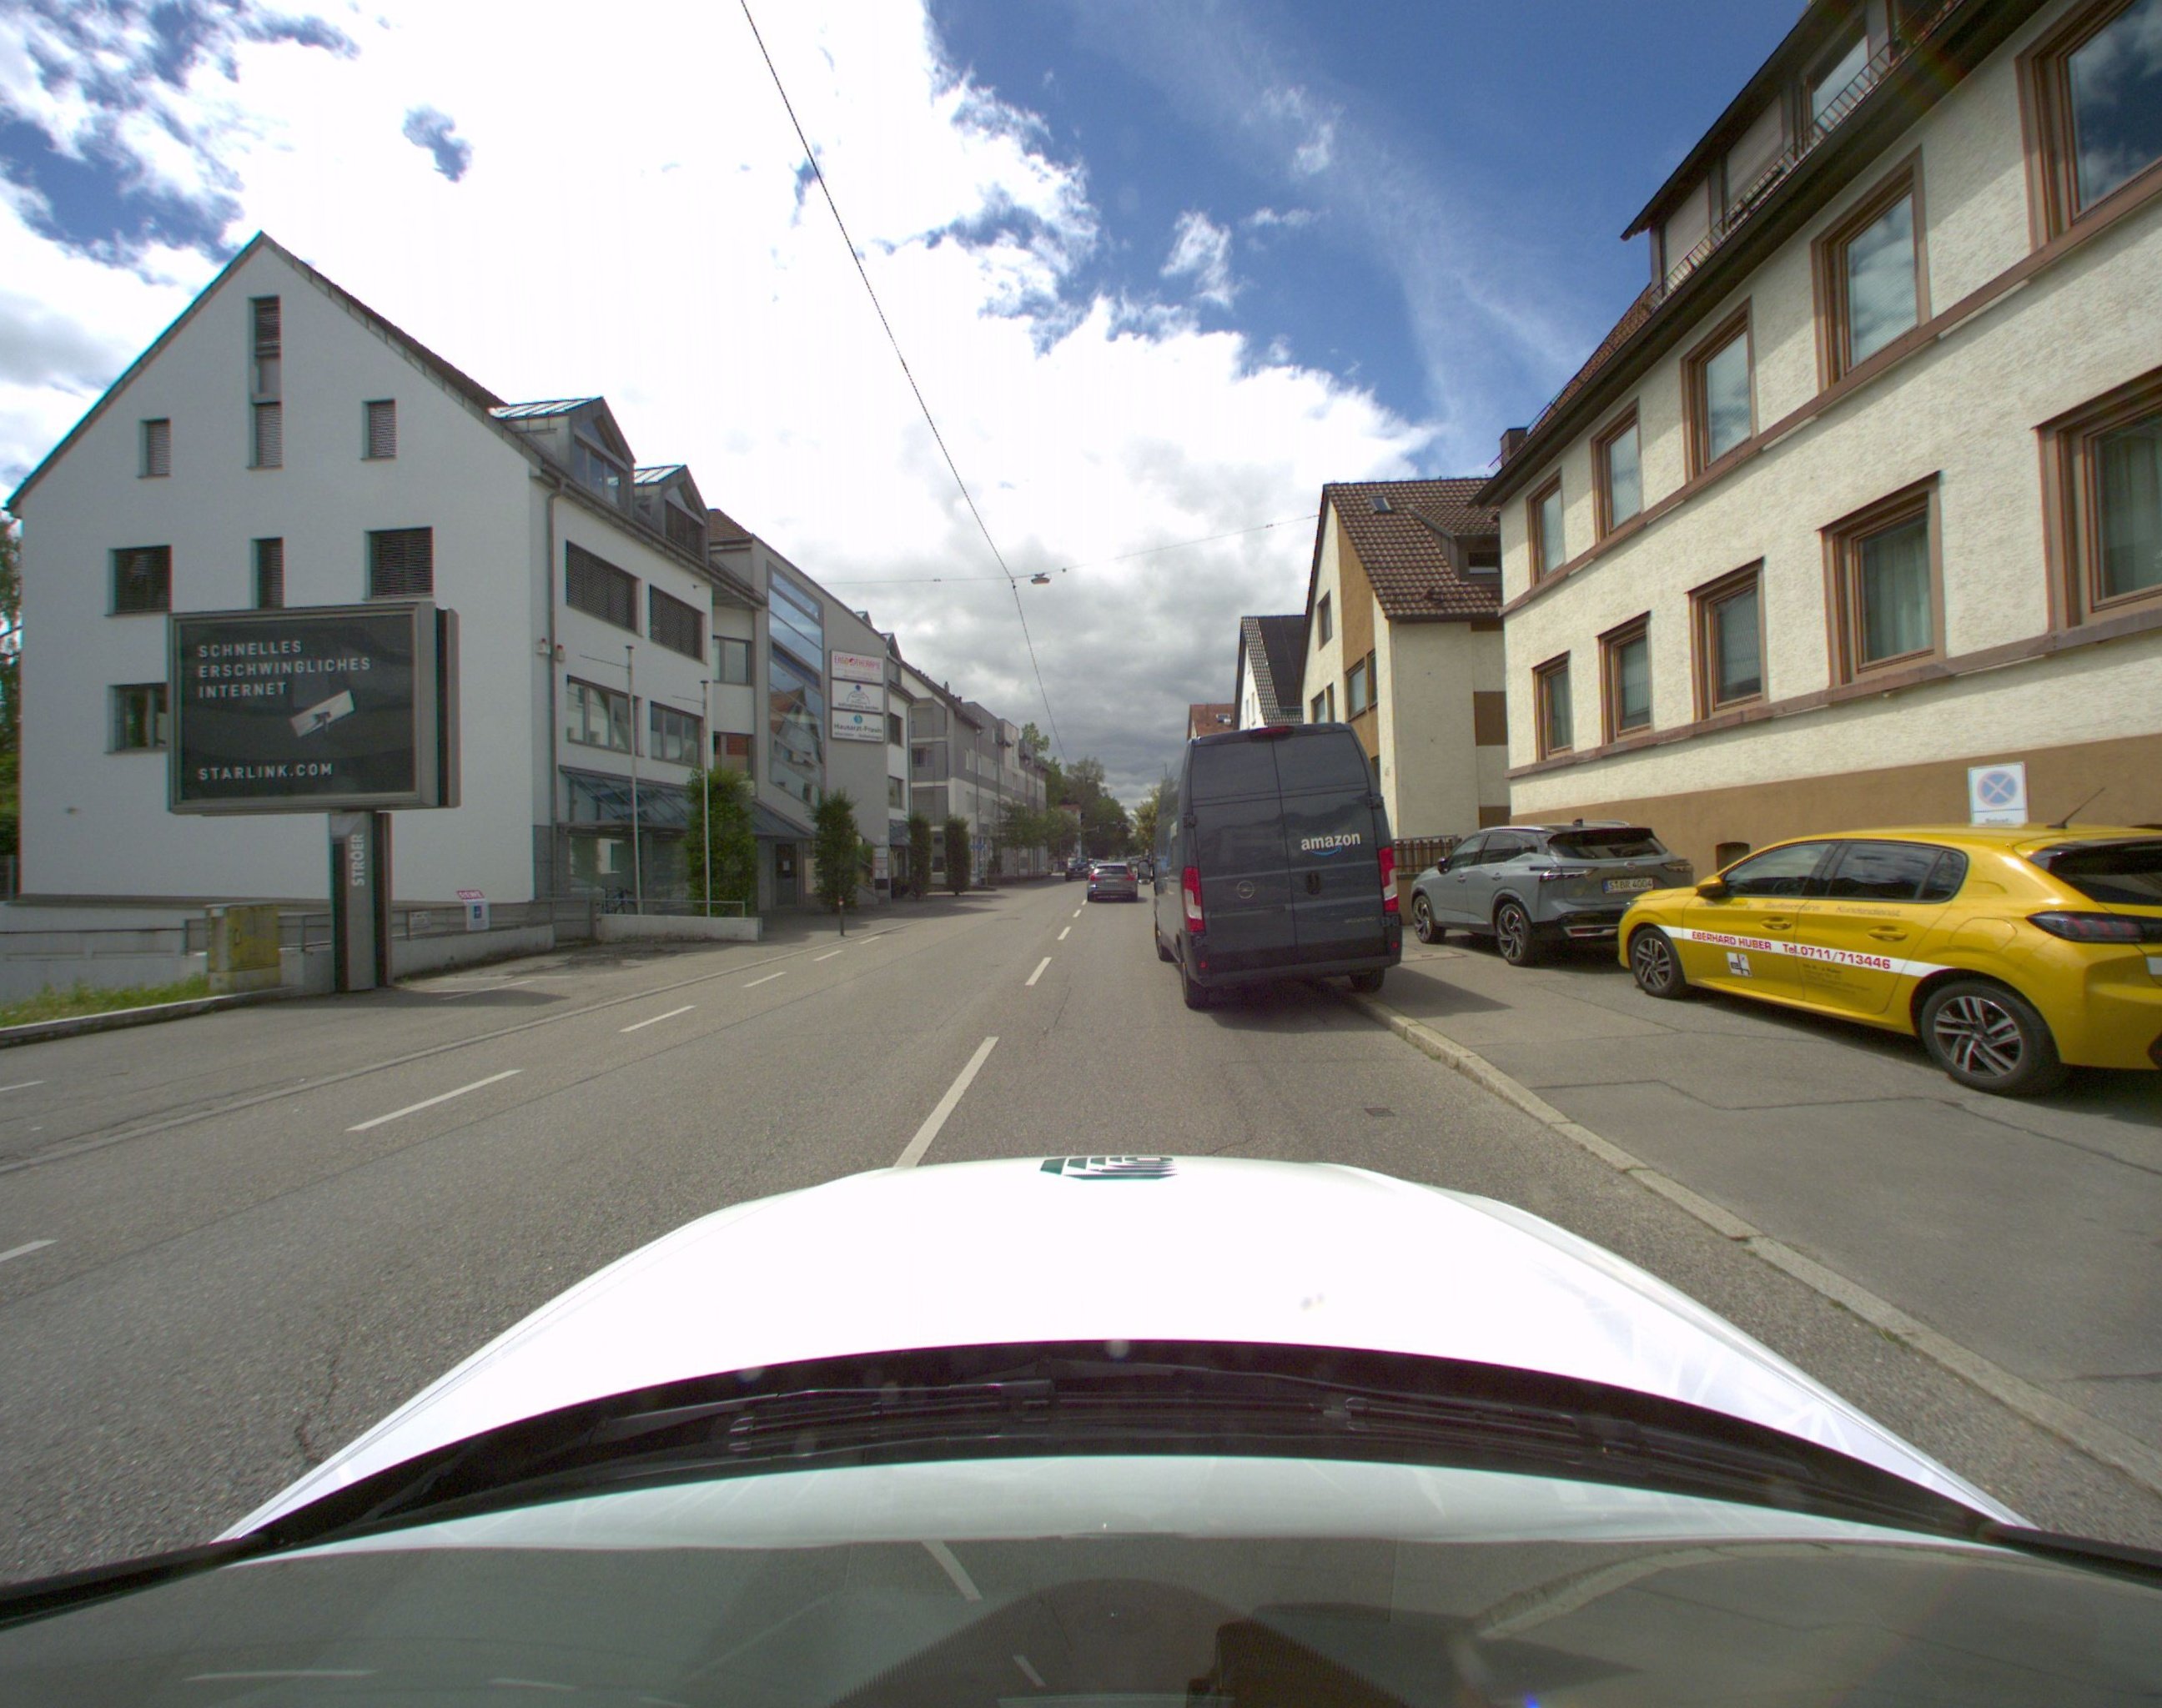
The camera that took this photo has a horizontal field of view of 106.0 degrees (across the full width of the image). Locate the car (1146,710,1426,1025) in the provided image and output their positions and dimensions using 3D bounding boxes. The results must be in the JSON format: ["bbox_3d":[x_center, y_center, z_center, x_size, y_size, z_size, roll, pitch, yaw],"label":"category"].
[{"bbox_3d":[2.072,0.152,10.191,2.244,2.795,5.572,-2,-1,2],"label":"car"}]

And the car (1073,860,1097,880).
[{"bbox_3d":[0.423,1.501,77.734,2.097,1.710,4.767,-2,-1,2],"label":"car"}]

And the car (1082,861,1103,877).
[{"bbox_3d":[1.302,1.622,89.855,2.097,1.596,4.651,-2,-1,2],"label":"car"}]

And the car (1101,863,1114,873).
[{"bbox_3d":[4.550,2.300,138.511,2.097,1.596,4.651,-2,-1,2],"label":"car"}]

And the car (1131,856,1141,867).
[{"bbox_3d":[11.111,1.539,165.594,1.985,2.014,4.004,-2,-1,4],"label":"car"}]

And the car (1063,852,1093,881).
[{"bbox_3d":[-0.202,1.011,65.744,2.098,2.121,4.767,-4,-1,2],"label":"car"}]

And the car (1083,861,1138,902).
[{"bbox_3d":[1.202,1.020,31.405,1.887,1.453,3.974,0,0,5],"label":"car"}]

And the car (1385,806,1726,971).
[{"bbox_3d":[5.748,0.367,10.698,1.854,1.612,4.587,-3,0,2],"label":"car"}]

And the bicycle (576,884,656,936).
[{"bbox_3d":[-11.012,1.293,19.375,0.627,1.095,2.005,-2,-1,4],"label":"bicycle"}]

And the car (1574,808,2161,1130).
[{"bbox_3d":[5.813,0.449,5.902,1.871,1.447,4.307,-2,2,0],"label":"car"}]

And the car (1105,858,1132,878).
[{"bbox_3d":[2.797,1.005,59.820,1.888,1.446,3.973,0,0,4],"label":"car"}]

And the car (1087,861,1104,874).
[{"bbox_3d":[1.856,1.692,104.788,2.097,1.596,4.651,-2,-1,2],"label":"car"}]
